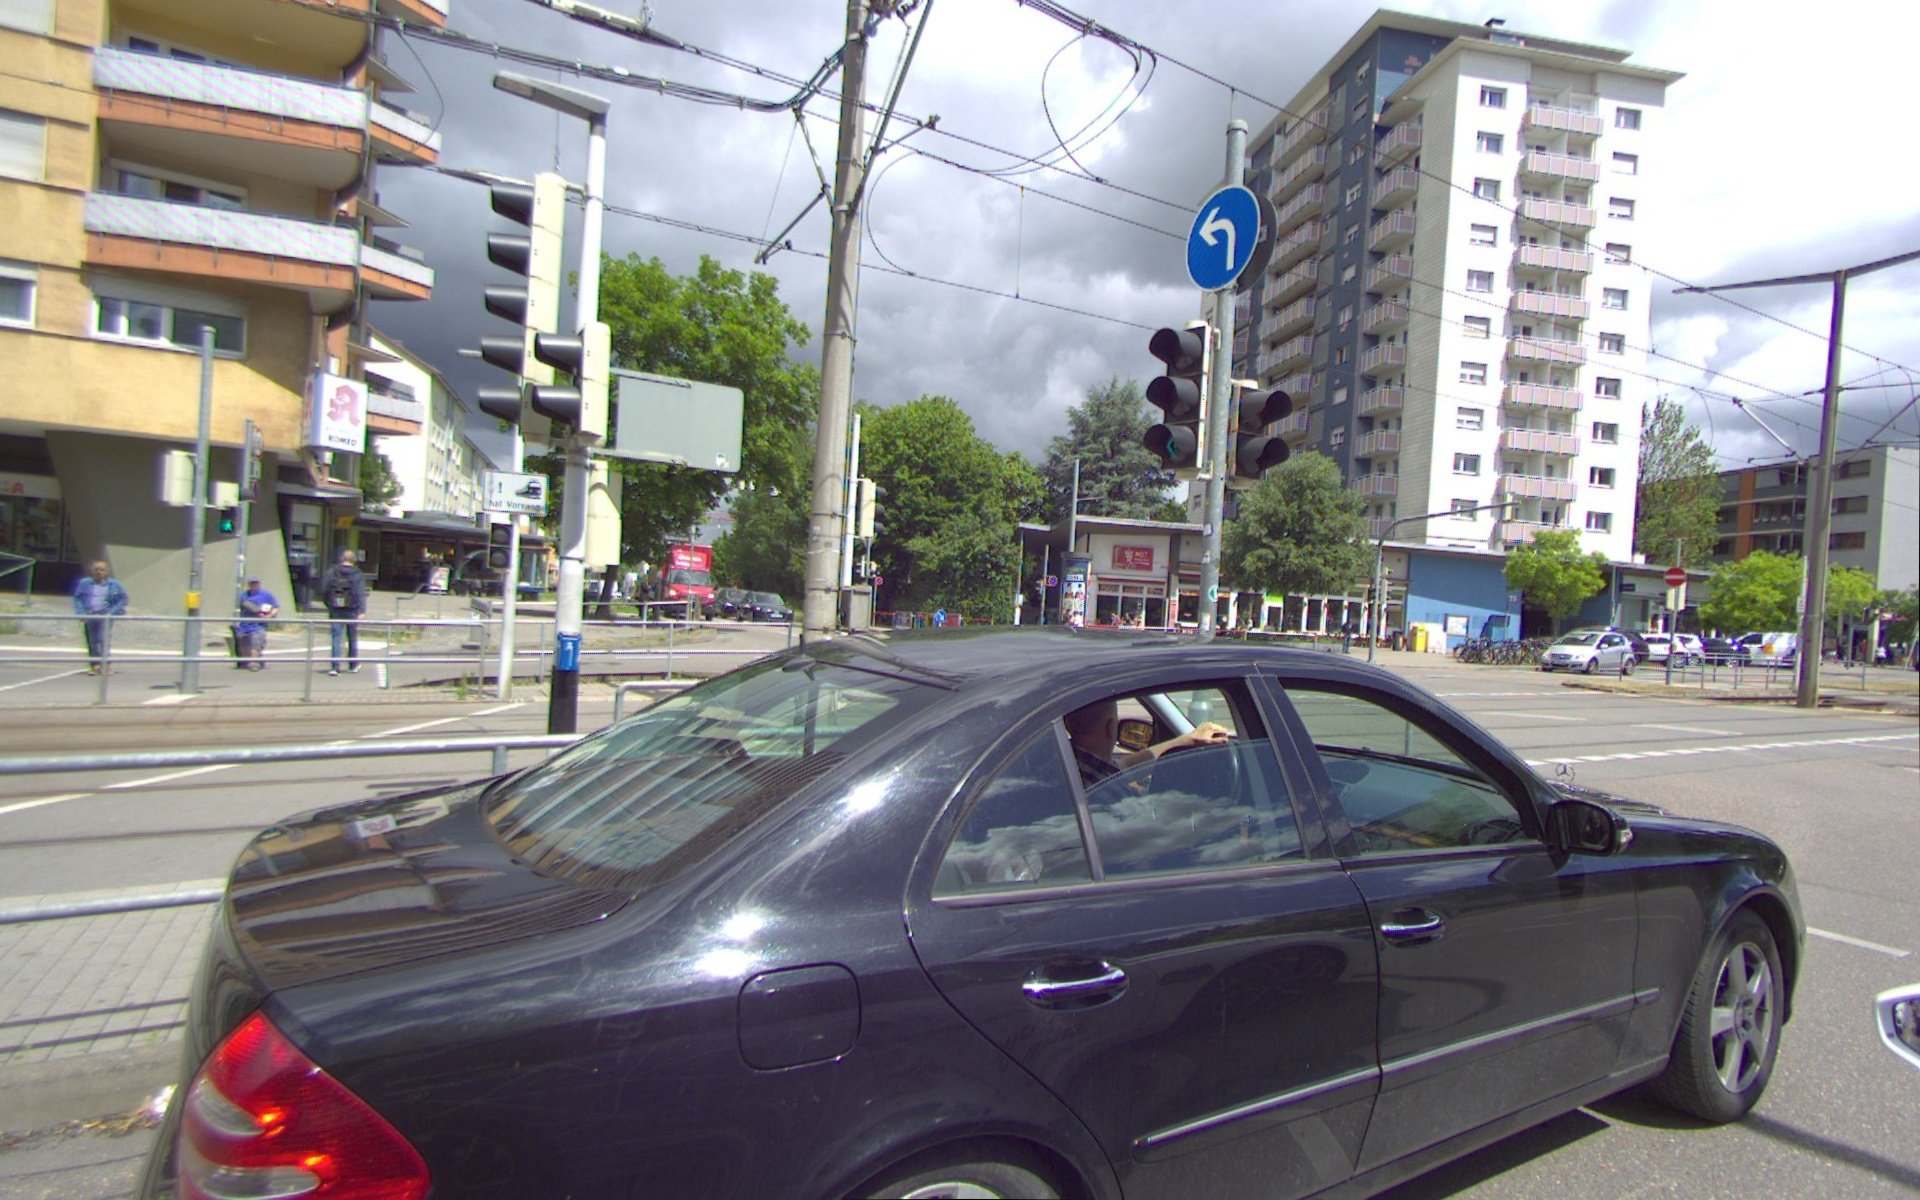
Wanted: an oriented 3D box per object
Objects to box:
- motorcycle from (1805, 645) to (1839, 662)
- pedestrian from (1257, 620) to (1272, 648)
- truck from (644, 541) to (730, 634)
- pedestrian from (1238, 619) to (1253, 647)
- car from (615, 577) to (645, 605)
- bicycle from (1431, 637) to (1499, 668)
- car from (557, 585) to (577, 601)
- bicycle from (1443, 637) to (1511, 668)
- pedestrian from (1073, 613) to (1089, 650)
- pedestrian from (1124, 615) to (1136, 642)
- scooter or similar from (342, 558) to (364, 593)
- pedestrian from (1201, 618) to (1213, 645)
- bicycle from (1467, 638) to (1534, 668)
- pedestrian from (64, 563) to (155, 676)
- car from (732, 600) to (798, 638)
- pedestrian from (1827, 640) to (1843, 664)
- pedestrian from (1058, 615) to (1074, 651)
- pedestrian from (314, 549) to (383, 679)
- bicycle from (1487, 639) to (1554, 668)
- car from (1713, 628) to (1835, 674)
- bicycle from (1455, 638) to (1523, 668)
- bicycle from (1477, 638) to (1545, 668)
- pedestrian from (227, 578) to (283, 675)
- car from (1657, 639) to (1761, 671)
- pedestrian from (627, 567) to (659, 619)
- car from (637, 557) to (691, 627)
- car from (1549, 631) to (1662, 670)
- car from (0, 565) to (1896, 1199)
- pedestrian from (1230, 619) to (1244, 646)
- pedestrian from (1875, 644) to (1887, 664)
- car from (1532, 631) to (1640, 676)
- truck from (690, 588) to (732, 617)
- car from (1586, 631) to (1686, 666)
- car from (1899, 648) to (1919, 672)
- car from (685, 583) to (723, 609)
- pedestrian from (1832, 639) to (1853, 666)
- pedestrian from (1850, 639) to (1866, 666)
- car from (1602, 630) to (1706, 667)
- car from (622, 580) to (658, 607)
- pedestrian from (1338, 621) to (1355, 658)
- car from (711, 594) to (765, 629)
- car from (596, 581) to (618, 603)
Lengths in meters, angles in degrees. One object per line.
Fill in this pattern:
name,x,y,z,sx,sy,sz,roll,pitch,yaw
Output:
motorcycle,67.568,4.167,78.743,0.734,1.194,1.880,2,0,-34
pedestrian,16.666,1.860,55.017,0.565,1.492,0.522,2,0,-28
truck,-12.205,-0.501,44.515,2.512,3.723,7.057,2,0,-24
pedestrian,15.566,1.818,54.752,0.565,1.492,0.522,2,0,-28
car,-26.462,-0.703,80.534,1.971,2.124,4.712,2,-1,-22
bicycle,20.022,2.066,39.880,0.697,1.080,2.415,2,0,-30
car,-42.525,-0.746,108.756,1.971,1.623,3.979,2,-1,-22
bicycle,20.690,2.094,40.271,0.697,1.080,2.415,2,0,-30
pedestrian,5.030,1.310,41.842,0.516,1.492,0.518,2,0,-5
pedestrian,9.481,1.604,56.027,0.515,1.492,0.572,2,0,1
scooter or similar,-20.112,-0.789,33.273,0.540,1.108,1.736,2,0,-34
pedestrian,13.744,1.764,55.949,0.515,1.492,0.572,2,0,1
bicycle,22.116,2.154,41.161,0.697,1.080,2.415,2,0,-30
pedestrian,-12.653,0.313,14.977,0.902,1.618,0.714,2,-4,-34
car,-8.608,0.807,44.116,1.972,1.514,3.976,2,-1,-24
pedestrian,60.144,3.588,69.055,0.654,1.594,0.687,2,0,31
pedestrian,4.485,1.389,42.375,0.516,1.492,0.572,2,0,-5
pedestrian,-9.600,0.227,15.791,0.843,1.960,0.913,2,0,-31
bicycle,23.380,2.207,41.958,0.697,1.080,2.415,2,0,-30
car,43.689,2.719,54.048,4.666,2.185,1.907,2,0,17
bicycle,21.372,2.122,40.667,0.697,1.080,2.415,2,0,-30
bicycle,22.747,2.180,41.534,0.697,1.080,2.415,2,0,-30
pedestrian,-11.543,0.428,16.475,0.641,1.533,0.715,2,0,-30
car,39.259,2.868,52.761,3.920,1.402,1.907,2,0,17
pedestrian,-11.477,-0.261,36.347,0.873,1.835,0.641,2,0,33
car,-15.404,-0.371,52.008,1.971,3.343,6.271,2,0,-22
car,29.810,2.308,46.477,3.919,1.612,1.934,2,0,12
car,0.538,0.748,2.985,4.618,1.417,1.962,2,-1,-29
pedestrian,15.471,1.828,56.108,0.516,1.492,0.572,2,0,-2
pedestrian,67.759,3.957,73.881,0.490,1.479,0.559,2,0,30
car,23.470,2.000,37.634,3.708,1.553,1.811,2,-1,-28
truck,-23.715,0.233,95.296,2.907,2.583,6.997,2,-1,-22
car,33.192,2.378,49.404,3.692,1.516,1.747,2,0,19
car,63.324,3.942,65.440,4.343,1.495,1.748,2,-1,-27
car,-17.276,-0.251,67.761,1.971,1.623,3.979,2,-1,-22
pedestrian,57.629,3.423,65.595,0.605,1.672,0.837,2,1,-28
pedestrian,62.360,3.631,69.729,0.834,1.816,0.607,2,0,-33
car,35.369,2.469,51.299,3.919,1.653,1.908,2,0,13
car,-21.085,-0.405,66.076,1.971,1.623,3.979,2,-1,-22
pedestrian,17.686,1.797,45.997,0.594,1.665,0.414,2,0,-34
car,-11.238,0.563,50.659,1.971,1.623,3.979,2,-1,-22
car,-36.820,-0.833,104.770,1.971,2.124,4.712,2,-1,-22
